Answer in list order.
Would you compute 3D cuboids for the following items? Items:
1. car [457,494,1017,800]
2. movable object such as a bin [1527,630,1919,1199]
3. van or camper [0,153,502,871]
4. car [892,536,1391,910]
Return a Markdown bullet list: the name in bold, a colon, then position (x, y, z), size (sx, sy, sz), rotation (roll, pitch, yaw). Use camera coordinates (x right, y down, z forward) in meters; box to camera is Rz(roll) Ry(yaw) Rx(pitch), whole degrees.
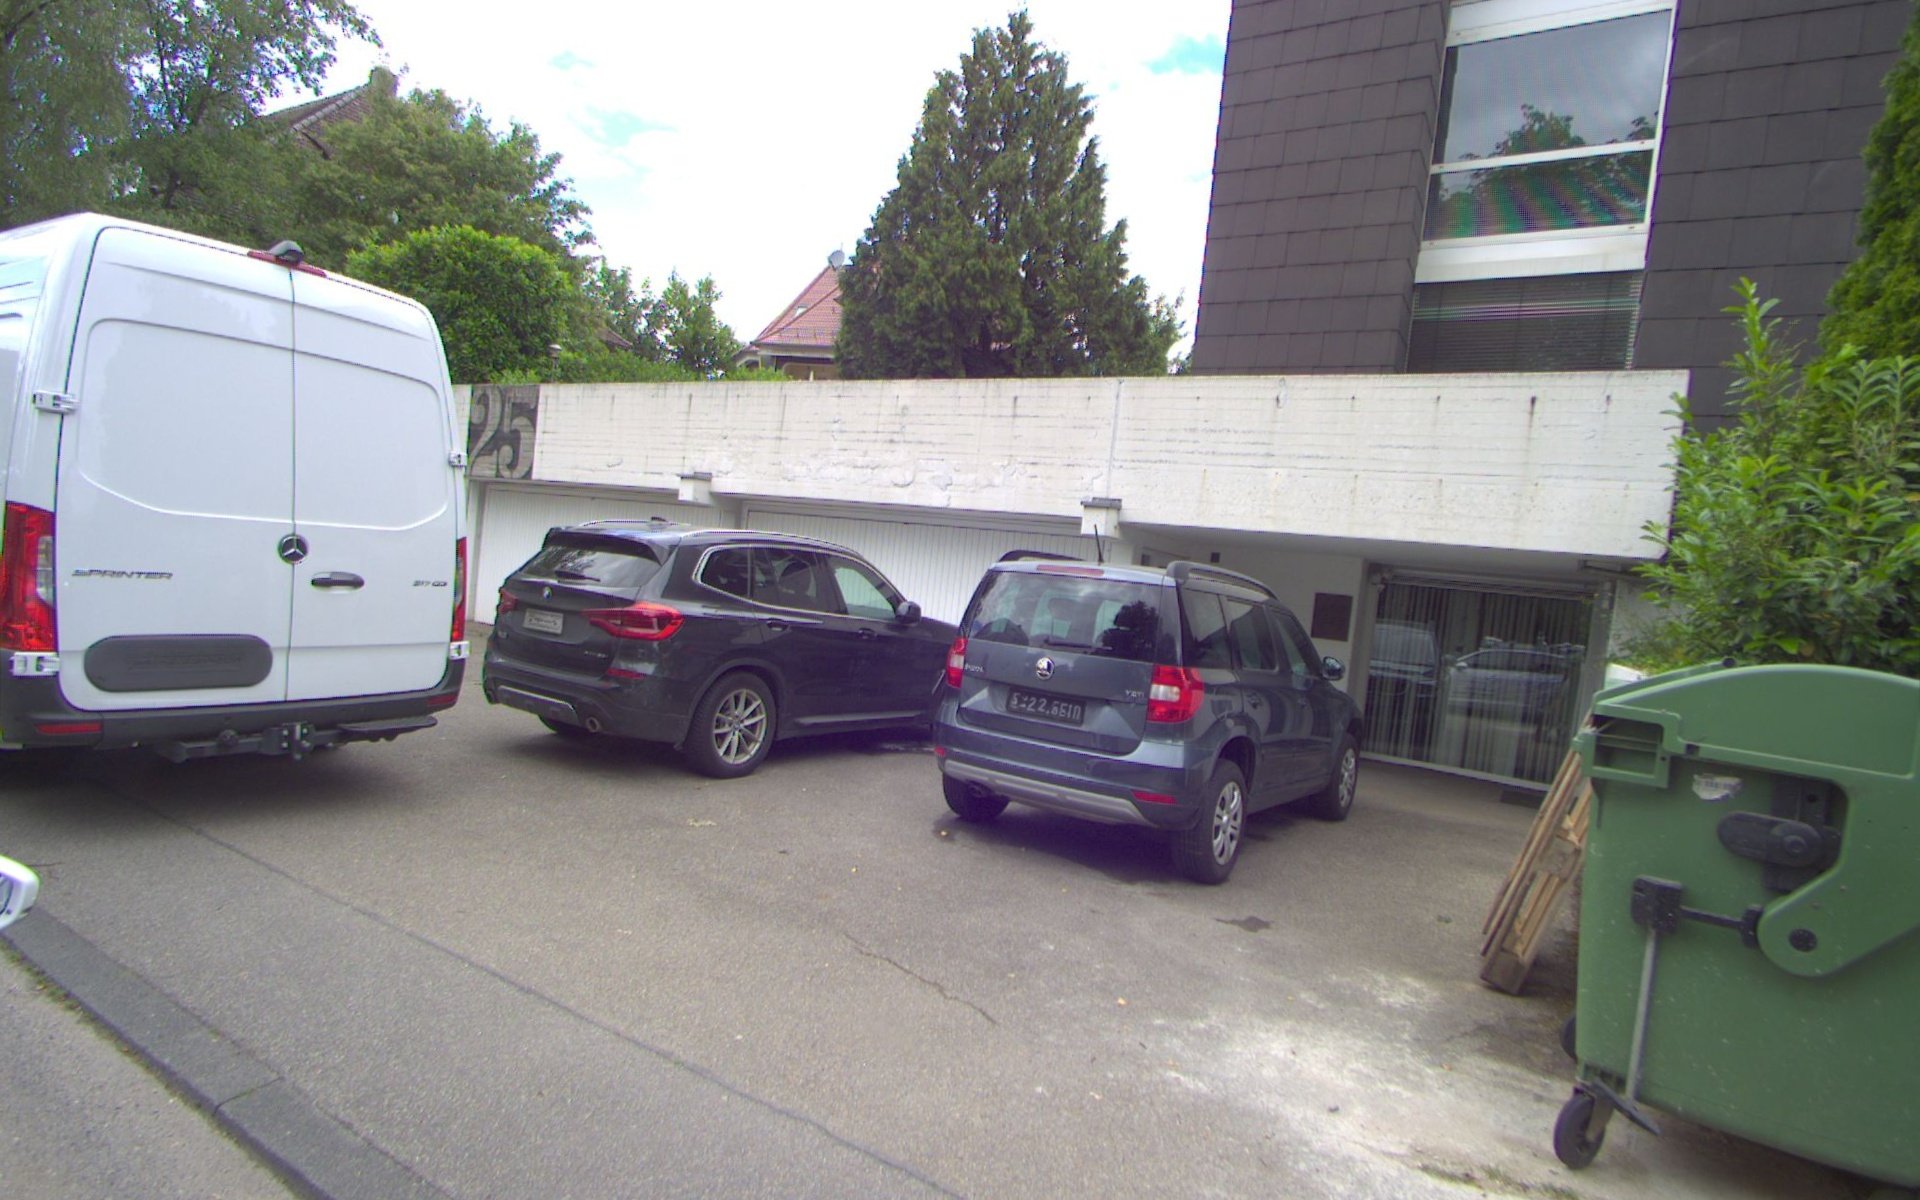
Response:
- **car**: position (-1.398, 0.319, 8.037), size (1.668, 1.696, 4.383), rotation (6, 1, 32)
- **movable object such as a bin**: position (2.416, 0.898, 2.977), size (1.098, 1.469, 1.405), rotation (6, 1, 32)
- **van or camper**: position (-5.765, -0.583, 6.280), size (6.436, 2.662, 1.990), rotation (6, 4, 32)
- **car**: position (1.492, 0.639, 6.797), size (1.717, 1.673, 3.899), rotation (6, 1, 35)
